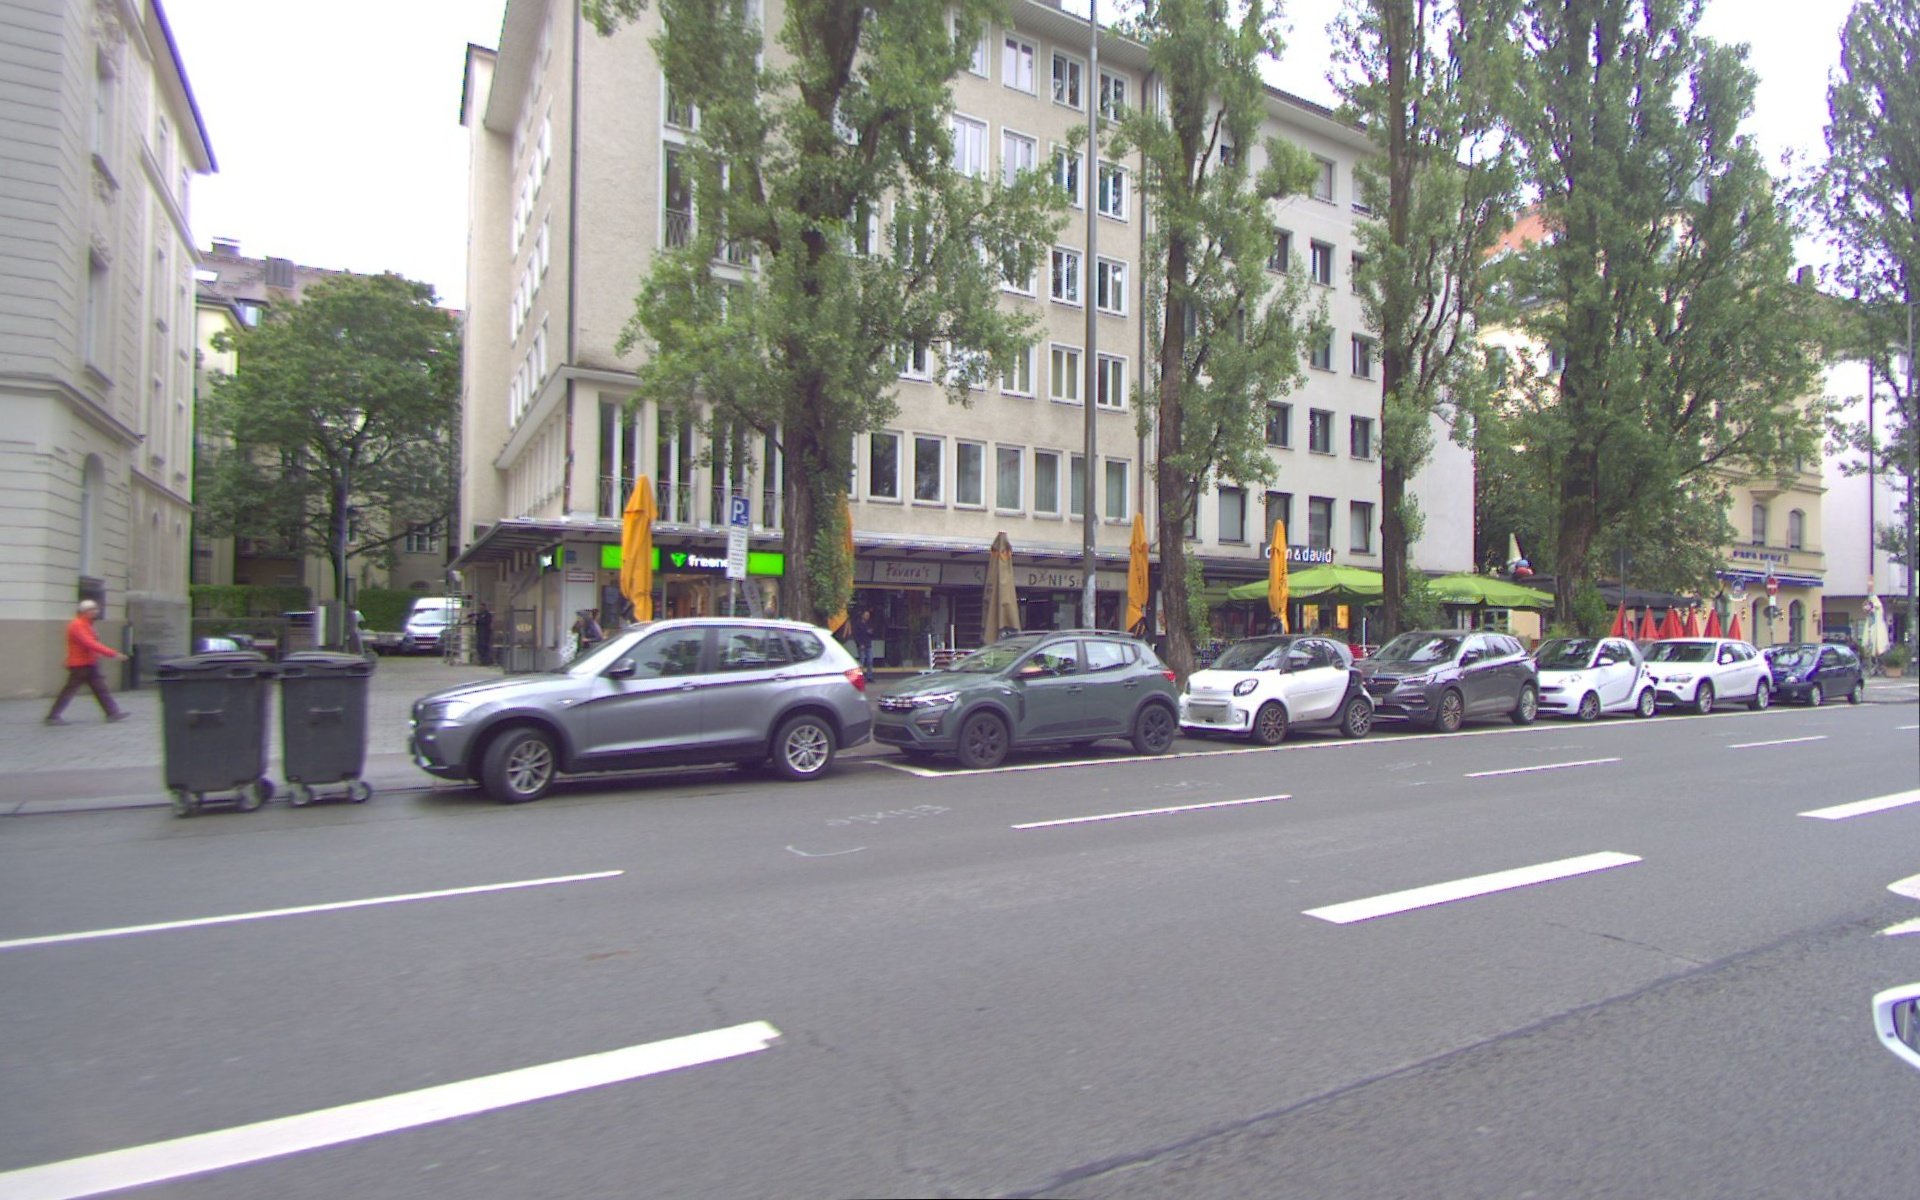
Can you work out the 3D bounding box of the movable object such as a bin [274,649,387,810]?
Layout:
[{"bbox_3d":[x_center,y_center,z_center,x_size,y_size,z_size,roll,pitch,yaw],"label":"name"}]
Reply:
[{"bbox_3d":[-5.814,1.141,9.326,0.810,1.334,1.307,1,-2,-31],"label":"movable object such as a bin"}]

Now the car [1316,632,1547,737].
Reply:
[{"bbox_3d":[8.098,1.346,17.143,4.139,1.586,1.828,2,-2,-36],"label":"car"}]

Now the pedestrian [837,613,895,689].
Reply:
[{"bbox_3d":[-2.268,1.214,24.103,1.134,1.768,0.848,1,-1,-30],"label":"pedestrian"}]

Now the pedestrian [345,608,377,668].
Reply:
[{"bbox_3d":[-17.442,1.096,29.260,0.752,1.716,0.623,1,-2,-28],"label":"pedestrian"}]

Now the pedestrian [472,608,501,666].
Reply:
[{"bbox_3d":[-14.116,1.103,29.945,0.752,1.716,0.623,1,-2,-28],"label":"pedestrian"}]

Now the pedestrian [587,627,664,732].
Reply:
[{"bbox_3d":[-5.898,1.372,17.717,1.134,1.767,0.848,1,-1,-30],"label":"pedestrian"}]

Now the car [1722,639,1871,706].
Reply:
[{"bbox_3d":[19.758,1.666,23.708,3.348,1.466,1.580,1,-2,-28],"label":"car"}]

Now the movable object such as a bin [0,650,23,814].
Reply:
[{"bbox_3d":[-8.097,1.064,7.800,0.891,1.327,1.271,1,-2,-30],"label":"movable object such as a bin"}]

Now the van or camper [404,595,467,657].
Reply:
[{"bbox_3d":[-22.086,1.109,42.473,1.972,2.457,4.850,1,-2,-24],"label":"van or camper"}]

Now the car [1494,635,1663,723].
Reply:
[{"bbox_3d":[11.934,1.466,19.384,2.886,1.554,1.567,1,-2,-28],"label":"car"}]

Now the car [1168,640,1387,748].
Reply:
[{"bbox_3d":[4.785,1.337,15.114,2.950,1.447,1.623,1,-2,-32],"label":"car"}]

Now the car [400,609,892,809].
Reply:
[{"bbox_3d":[-3.155,1.017,10.429,4.564,1.676,1.855,1,-4,-32],"label":"car"}]

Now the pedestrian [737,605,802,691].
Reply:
[{"bbox_3d":[-4.062,1.010,21.438,1.134,1.767,0.848,1,-1,-30],"label":"pedestrian"}]

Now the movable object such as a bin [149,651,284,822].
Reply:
[{"bbox_3d":[-6.494,1.134,8.841,0.816,1.334,1.253,1,-1,-31],"label":"movable object such as a bin"}]

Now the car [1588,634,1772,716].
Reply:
[{"bbox_3d":[15.279,1.516,21.277,4.042,1.567,1.825,1,-2,-33],"label":"car"}]

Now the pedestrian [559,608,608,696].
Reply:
[{"bbox_3d":[-7.646,1.044,20.386,0.817,1.744,0.622,1,-2,-31],"label":"pedestrian"}]

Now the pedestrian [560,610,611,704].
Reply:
[{"bbox_3d":[-7.135,1.074,19.141,0.817,1.744,0.622,1,-2,-29],"label":"pedestrian"}]

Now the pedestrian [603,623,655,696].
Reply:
[{"bbox_3d":[-6.234,1.100,18.915,0.817,1.342,0.622,1,-2,-29],"label":"pedestrian"}]

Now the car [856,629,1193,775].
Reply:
[{"bbox_3d":[0.874,1.162,12.656,4.036,1.571,1.689,1,-2,-32],"label":"car"}]

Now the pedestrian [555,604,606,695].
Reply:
[{"bbox_3d":[-7.457,0.960,19.729,0.817,1.744,0.622,1,-2,-31],"label":"pedestrian"}]

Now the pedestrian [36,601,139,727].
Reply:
[{"bbox_3d":[-12.272,0.876,14.159,0.941,1.695,0.730,2,0,-30],"label":"pedestrian"}]
